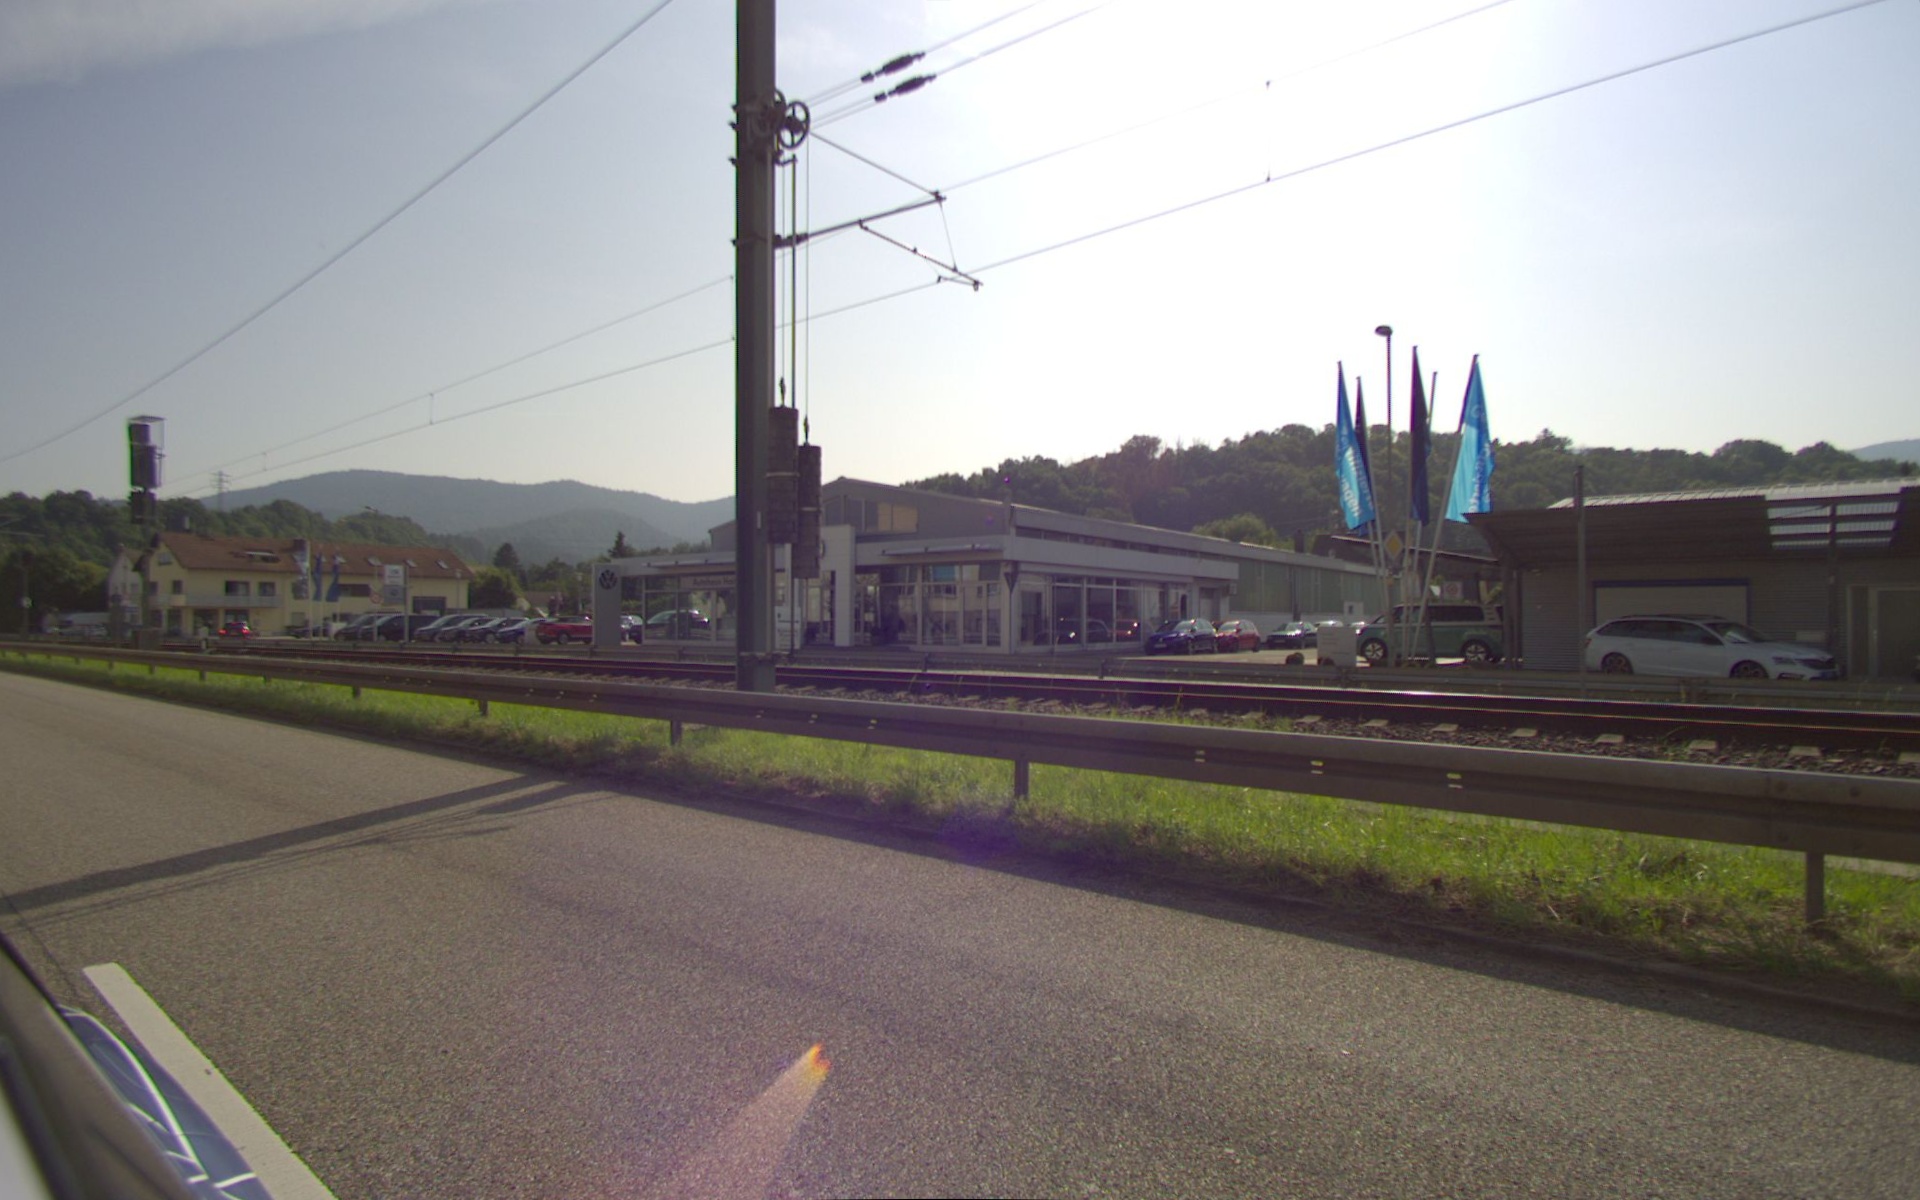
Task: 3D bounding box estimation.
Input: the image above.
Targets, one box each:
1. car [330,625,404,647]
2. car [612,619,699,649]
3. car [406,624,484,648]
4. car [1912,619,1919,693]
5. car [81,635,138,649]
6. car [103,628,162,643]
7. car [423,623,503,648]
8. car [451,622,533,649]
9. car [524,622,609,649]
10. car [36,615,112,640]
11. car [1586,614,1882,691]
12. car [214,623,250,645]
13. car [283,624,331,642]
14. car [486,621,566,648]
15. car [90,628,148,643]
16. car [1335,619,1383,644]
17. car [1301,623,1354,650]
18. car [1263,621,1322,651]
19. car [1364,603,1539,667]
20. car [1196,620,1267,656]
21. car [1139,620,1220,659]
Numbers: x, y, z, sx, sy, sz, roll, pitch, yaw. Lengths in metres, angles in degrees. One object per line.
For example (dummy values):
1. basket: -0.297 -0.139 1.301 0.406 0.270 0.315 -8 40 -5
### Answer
1. car: -39.833 2.415 68.035 1.758 1.471 3.948 -2 -2 38
2. car: -15.640 1.755 52.156 1.859 1.471 3.948 -2 -2 38
3. car: -32.275 2.246 63.501 1.758 1.471 3.948 -2 -2 38
4. car: 19.624 0.989 17.689 4.149 1.352 1.847 0 -1 0
5. car: -79.875 3.936 95.105 1.644 1.309 3.814 -1 -2 33
6. car: -75.452 3.240 92.307 1.644 1.309 3.814 -1 -2 33
7. car: -29.842 2.139 60.863 1.758 1.471 3.948 -2 -2 38
8. car: -27.152 2.052 58.771 1.758 1.471 3.948 -2 -2 38
9. car: -21.090 1.891 54.383 1.856 1.385 3.954 -1 -2 33
10. car: -90.594 2.797 103.587 2.232 2.435 5.522 -1 -2 36
11. car: 15.586 1.004 20.739 1.815 1.396 4.537 0 -1 -19
12. car: -50.413 2.355 70.071 1.831 1.471 4.008 1 -2 -38
13. car: -56.931 2.855 88.289 3.487 1.588 1.653 1 -2 -31
14. car: -24.452 1.950 57.145 1.752 1.471 3.962 -1 -2 28
15. car: -77.851 3.279 93.726 1.644 1.309 3.814 -1 -2 33
16. car: 23.480 1.837 59.493 1.617 1.431 3.950 -1 -2 37
17. car: 20.112 1.972 55.304 1.617 1.431 3.950 -1 -2 37
18. car: 16.642 1.777 50.573 1.617 1.431 3.950 -1 -2 37
19. car: 15.202 1.061 31.455 4.551 1.872 1.879 -1 -2 41
20. car: 11.756 1.611 43.721 1.617 1.431 3.950 -1 -2 37
21. car: 8.622 1.505 39.606 1.617 1.431 3.950 -1 -2 37
